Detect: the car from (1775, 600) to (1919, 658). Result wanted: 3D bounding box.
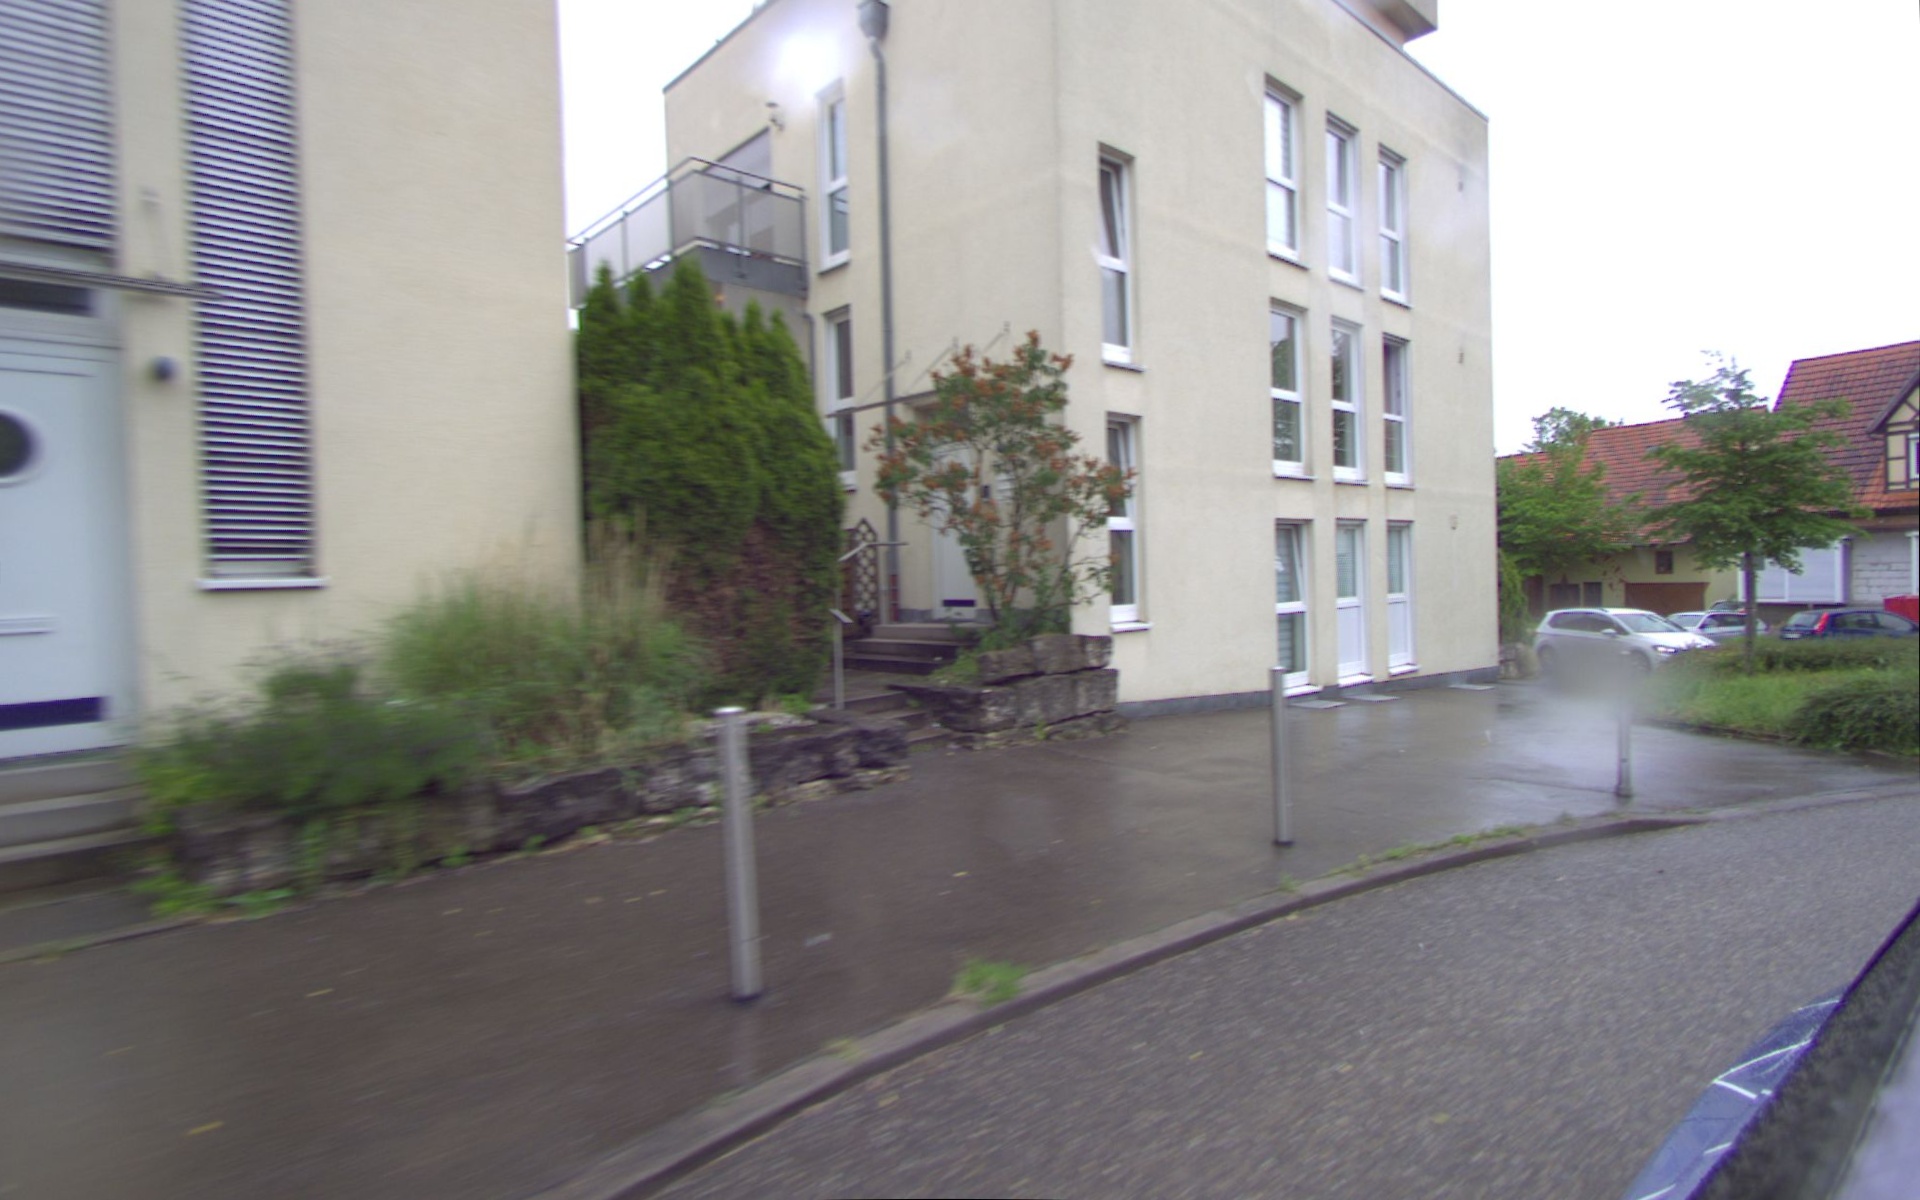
[{"bbox_3d":[23.702,0.735,26.209,3.672,1.408,1.620,-1,0,9],"label":"car"}]

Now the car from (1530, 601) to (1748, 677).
[{"bbox_3d":[15.526,0.821,23.431,1.721,1.555,4.157,-1,0,-11],"label":"car"}]

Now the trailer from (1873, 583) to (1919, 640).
[{"bbox_3d":[29.142,0.336,29.999,1.383,1.670,2.730,0,0,-22],"label":"trailer"}]

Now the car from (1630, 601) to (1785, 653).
[{"bbox_3d":[22.561,0.784,30.587,3.916,1.408,1.627,-1,0,-14],"label":"car"}]
